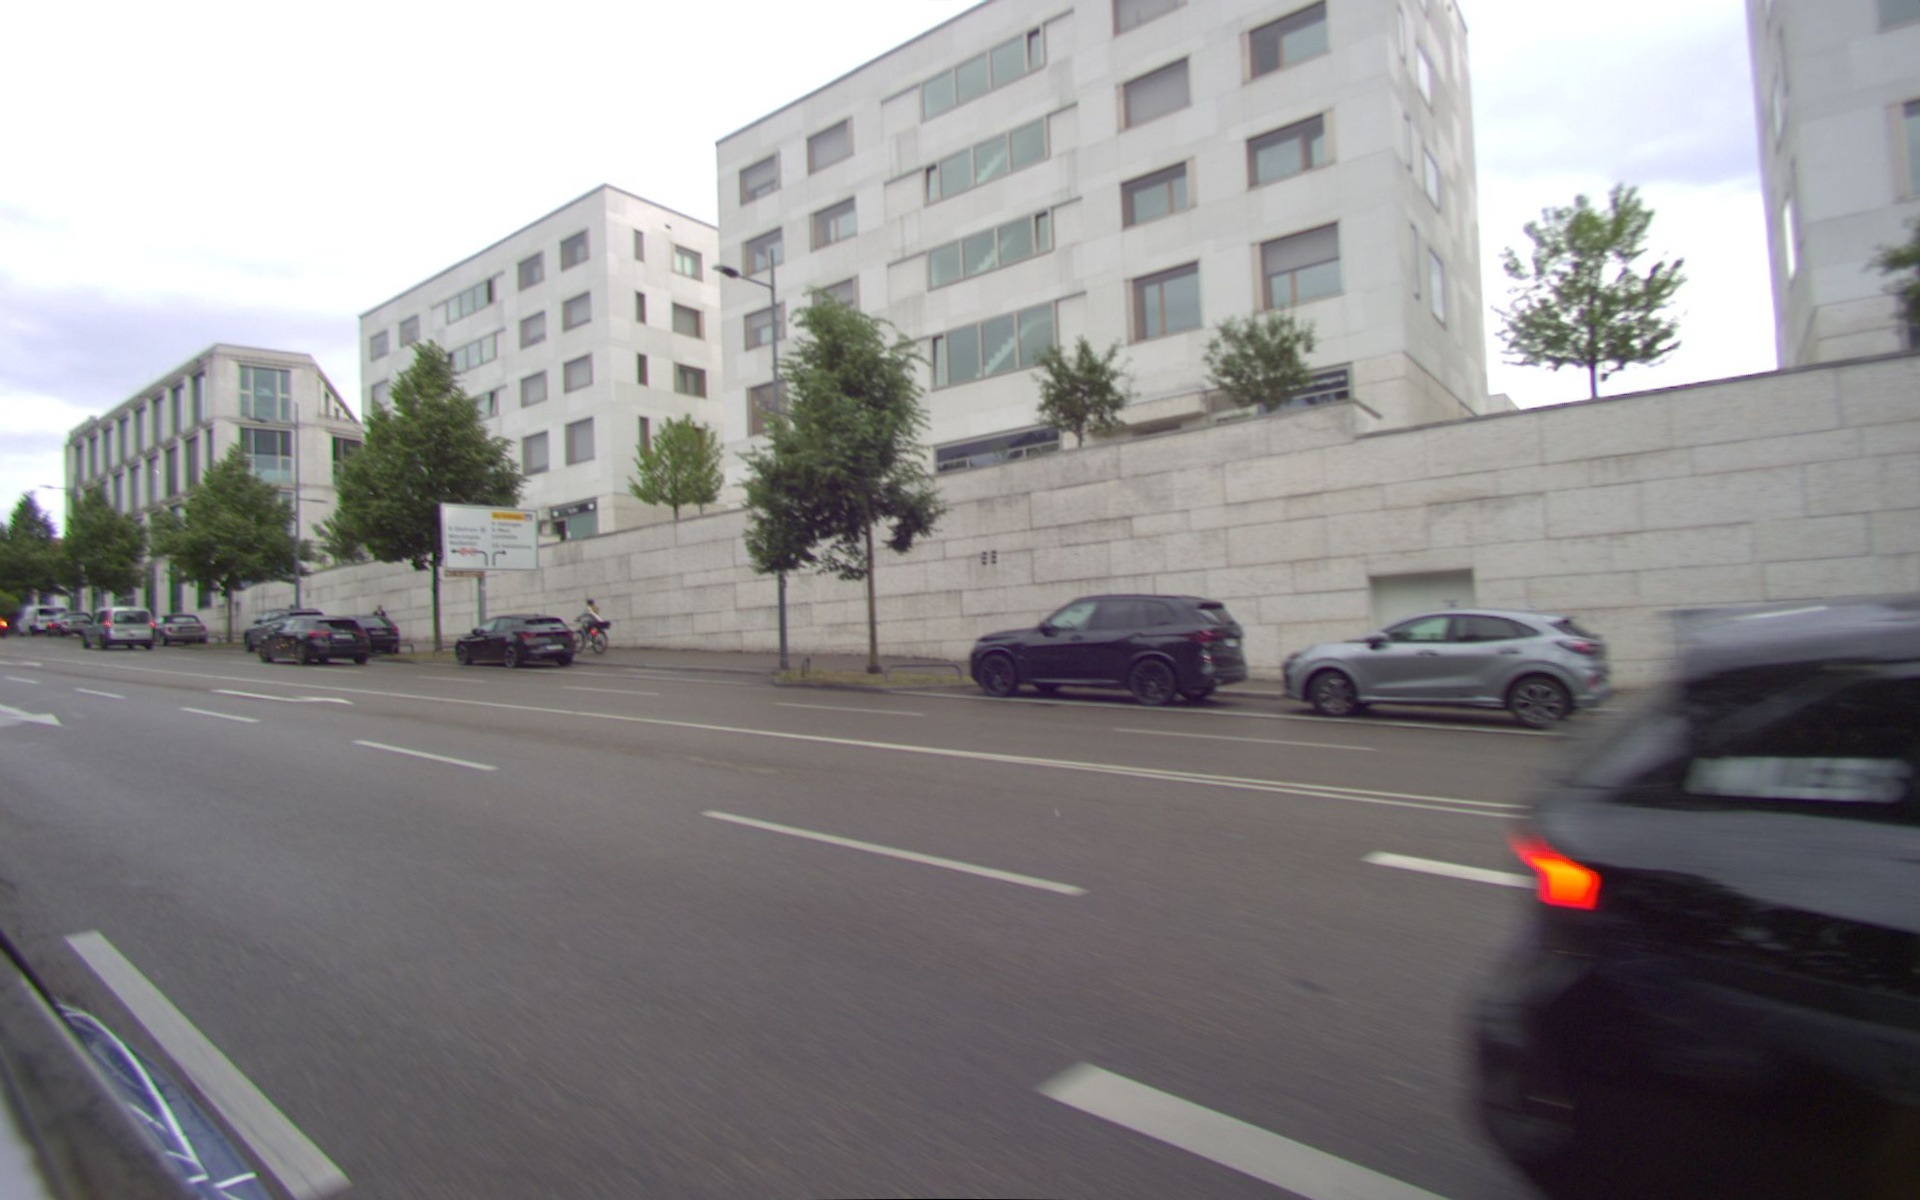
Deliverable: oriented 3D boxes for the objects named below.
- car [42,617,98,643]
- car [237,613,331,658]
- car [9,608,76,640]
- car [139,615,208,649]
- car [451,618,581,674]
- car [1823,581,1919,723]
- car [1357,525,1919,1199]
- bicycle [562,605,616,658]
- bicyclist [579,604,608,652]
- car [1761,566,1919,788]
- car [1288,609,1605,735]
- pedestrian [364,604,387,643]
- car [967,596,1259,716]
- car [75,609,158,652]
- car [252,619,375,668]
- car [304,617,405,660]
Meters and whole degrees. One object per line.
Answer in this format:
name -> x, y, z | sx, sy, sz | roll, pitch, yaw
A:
car -> -51.517, 1.751, 58.567 | 3.691, 1.395, 1.680 | -2, 0, 36
car -> -26.012, 1.315, 38.897 | 4.355, 1.632, 1.687 | -1, -1, 38
car -> -57.338, 1.500, 63.217 | 5.249, 1.829, 2.103 | -3, -1, 36
car -> -36.686, 1.490, 47.185 | 3.855, 1.455, 1.679 | -2, 0, 38
car -> -12.512, 1.245, 28.449 | 3.959, 1.437, 1.663 | -1, 0, 38
car -> 11.413, 0.537, 11.007 | 2.976, 1.526, 1.494 | -1, 0, 38
car -> 2.996, 0.591, 0.997 | 4.518, 1.441, 1.781 | -1, 0, 41
bicycle -> -12.041, 1.004, 32.831 | 1.877, 1.669, 0.736 | -1, 1, 38
bicyclist -> -11.808, 0.886, 32.632 | 0.768, 1.529, 0.571 | -1, -1, 37
car -> 9.644, 0.653, 8.514 | 4.502, 1.872, 1.901 | -2, -3, 40
car -> 6.648, 0.915, 13.990 | 3.704, 1.526, 1.663 | -1, -2, 37
pedestrian -> -27.565, 1.114, 47.746 | 0.690, 1.788, 0.712 | -3, -2, 36
car -> 2.508, 0.879, 17.167 | 4.587, 1.794, 1.840 | -1, -1, 36
car -> -35.996, 1.324, 43.148 | 4.329, 1.760, 1.694 | -2, -3, 36
car -> -19.443, 1.296, 30.370 | 4.183, 1.391, 1.754 | -1, -3, 37
car -> -21.188, 1.330, 35.339 | 4.157, 1.370, 1.679 | -2, -1, 38
